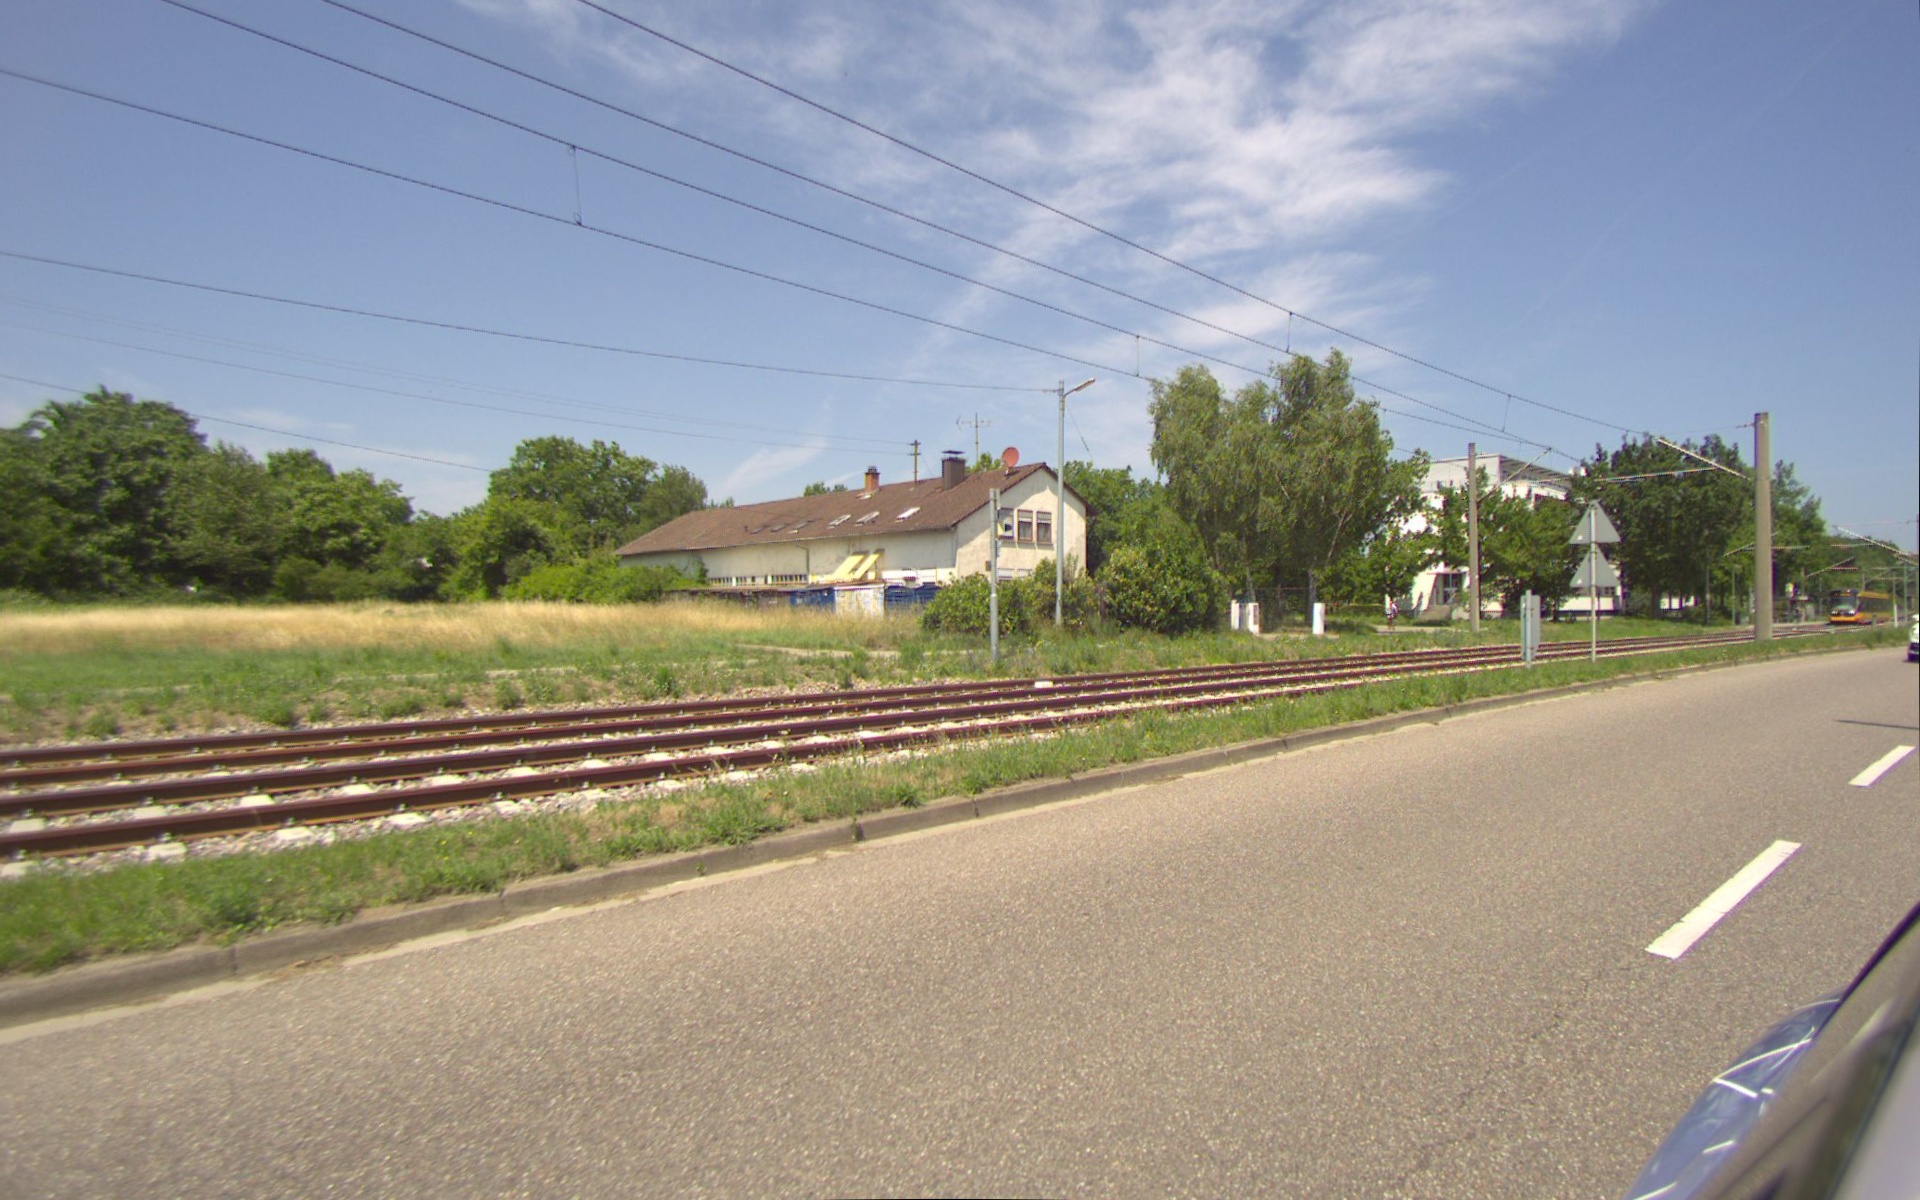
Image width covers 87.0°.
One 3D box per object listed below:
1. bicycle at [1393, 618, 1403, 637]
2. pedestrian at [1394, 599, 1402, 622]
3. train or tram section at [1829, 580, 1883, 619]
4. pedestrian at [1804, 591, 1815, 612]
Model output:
[{"bbox_3d":[27.573,1.727,63.715,0.427,1.134,1.564,-1,-1,30],"label":"bicycle"},{"bbox_3d":[27.648,0.661,63.919,0.454,1.421,0.578,0,-1,27],"label":"pedestrian"},{"bbox_3d":[89.914,-0.064,101.482,12.291,3.625,2.818,0,3,-43],"label":"train or tram section"},{"bbox_3d":[77.098,0.151,91.838,0.692,1.866,0.702,-3,-2,38],"label":"pedestrian"}]
